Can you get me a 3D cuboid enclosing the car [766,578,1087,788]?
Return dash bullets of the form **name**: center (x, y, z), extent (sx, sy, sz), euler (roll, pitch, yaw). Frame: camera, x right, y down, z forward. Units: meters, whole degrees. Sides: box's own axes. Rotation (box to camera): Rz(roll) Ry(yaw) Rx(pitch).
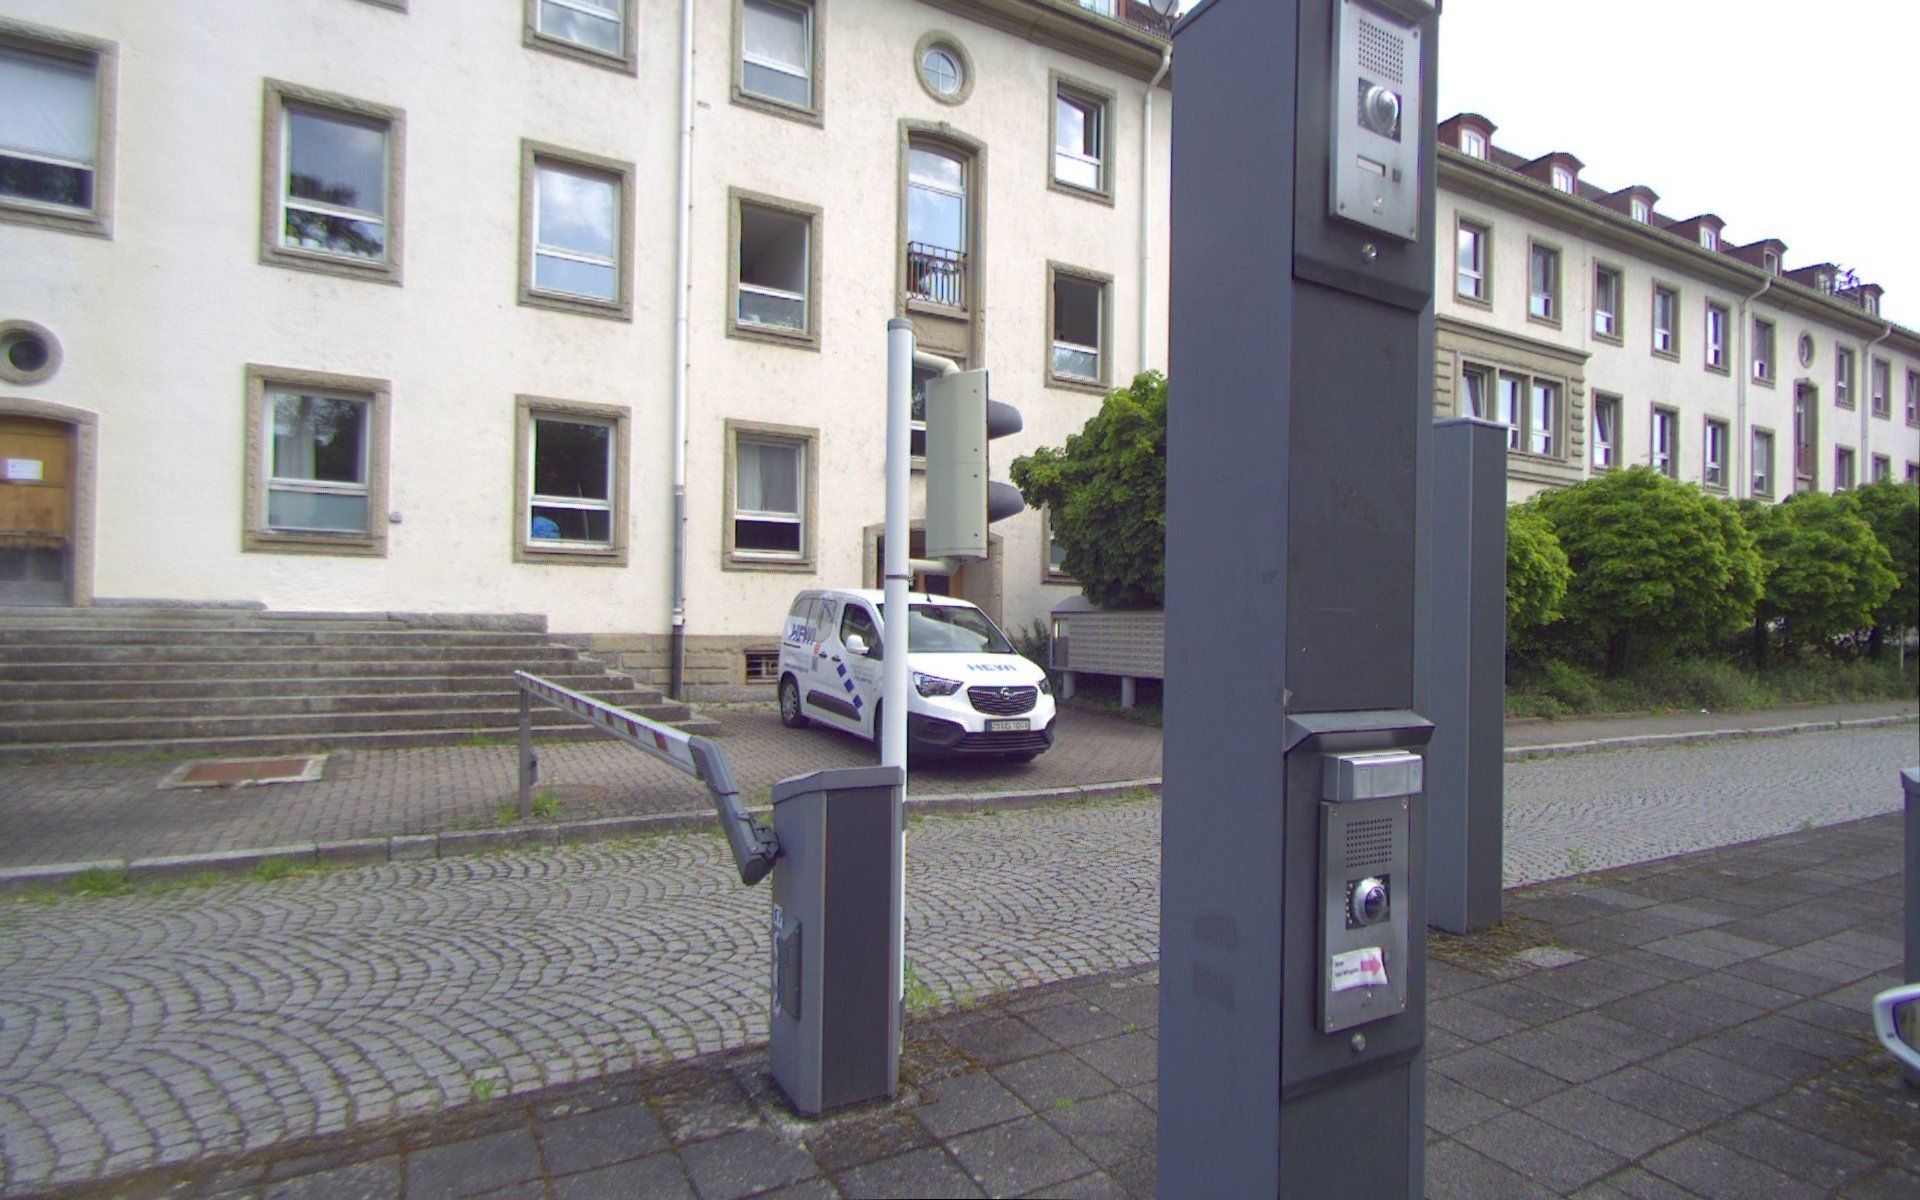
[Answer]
- **car**: center (-0.608, 0.764, 11.630), extent (1.800, 1.830, 4.277), euler (2, 2, -31)
